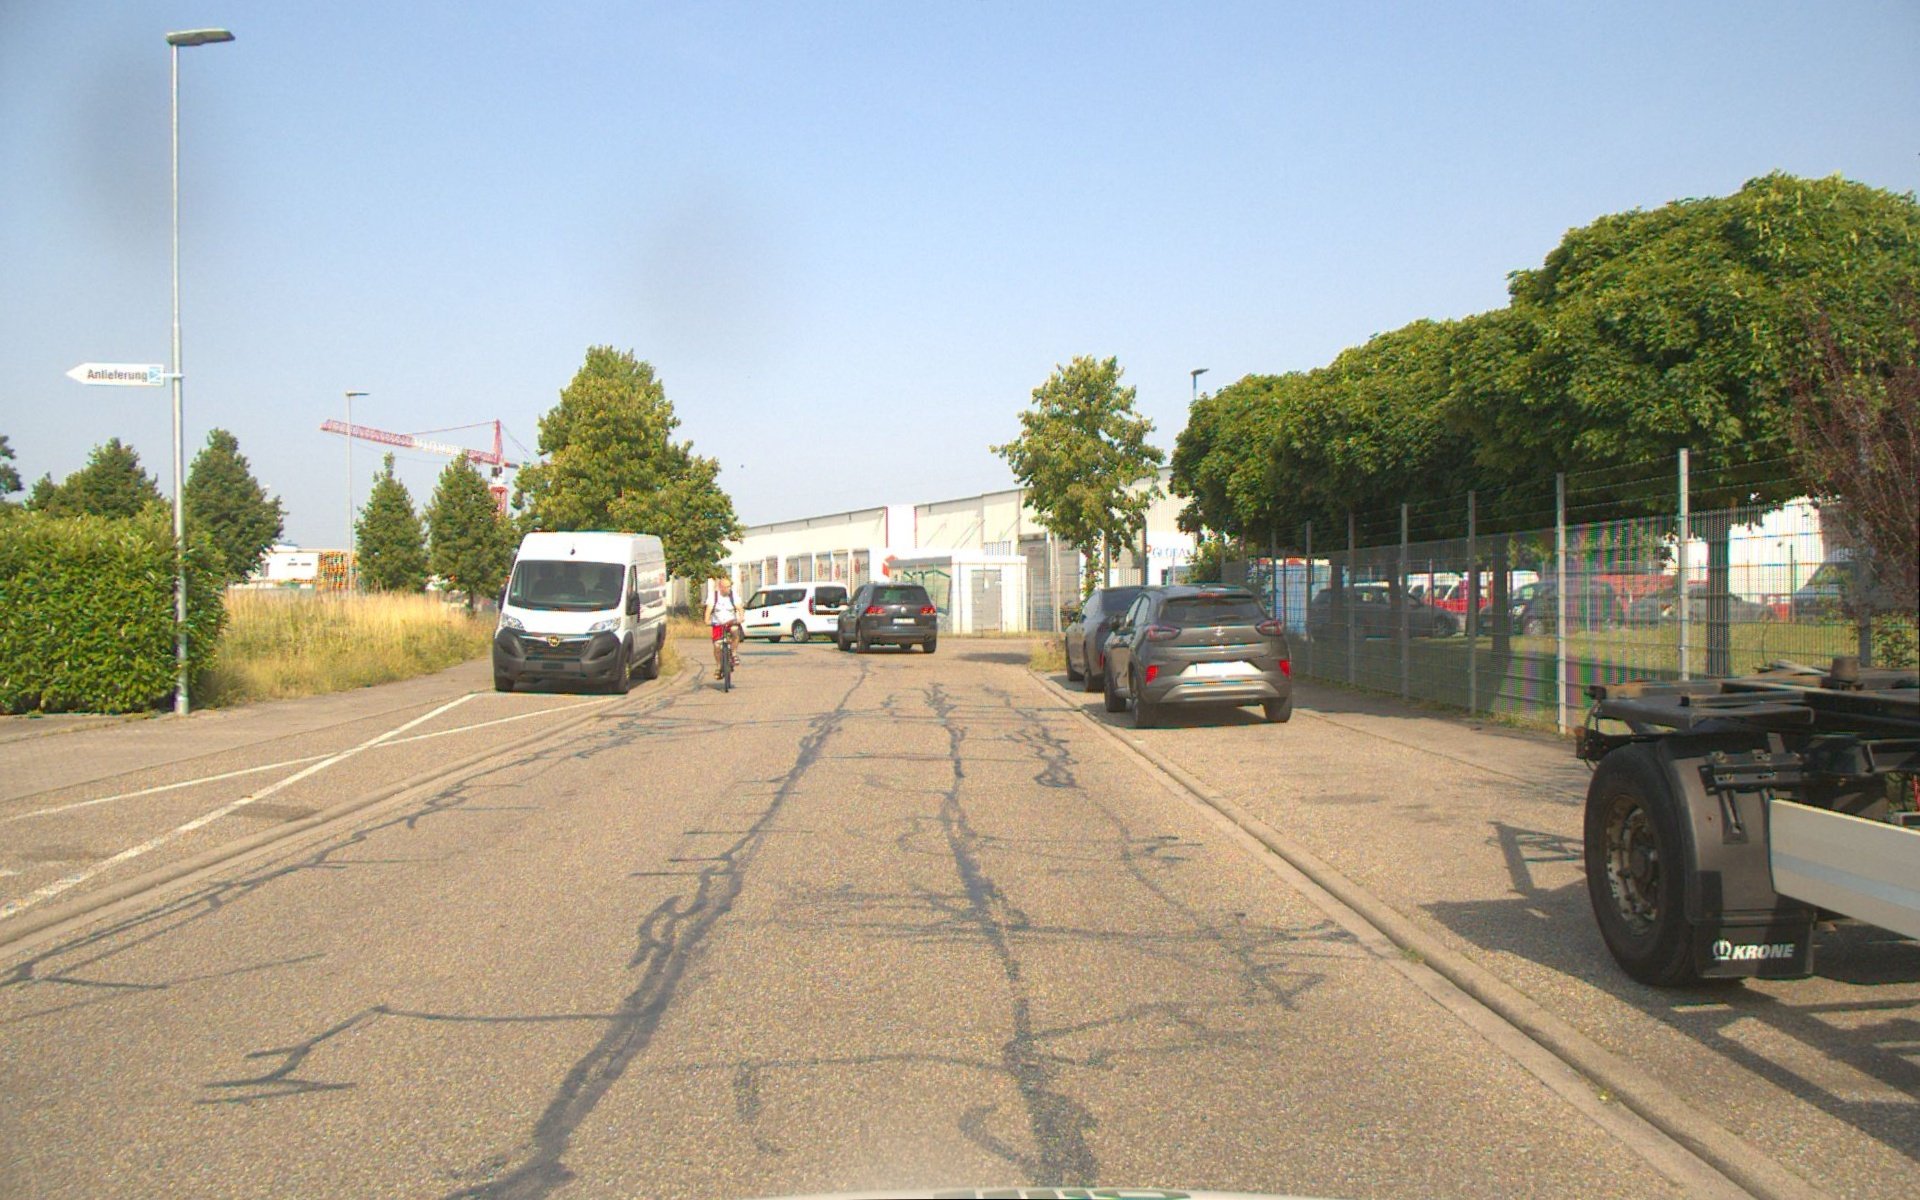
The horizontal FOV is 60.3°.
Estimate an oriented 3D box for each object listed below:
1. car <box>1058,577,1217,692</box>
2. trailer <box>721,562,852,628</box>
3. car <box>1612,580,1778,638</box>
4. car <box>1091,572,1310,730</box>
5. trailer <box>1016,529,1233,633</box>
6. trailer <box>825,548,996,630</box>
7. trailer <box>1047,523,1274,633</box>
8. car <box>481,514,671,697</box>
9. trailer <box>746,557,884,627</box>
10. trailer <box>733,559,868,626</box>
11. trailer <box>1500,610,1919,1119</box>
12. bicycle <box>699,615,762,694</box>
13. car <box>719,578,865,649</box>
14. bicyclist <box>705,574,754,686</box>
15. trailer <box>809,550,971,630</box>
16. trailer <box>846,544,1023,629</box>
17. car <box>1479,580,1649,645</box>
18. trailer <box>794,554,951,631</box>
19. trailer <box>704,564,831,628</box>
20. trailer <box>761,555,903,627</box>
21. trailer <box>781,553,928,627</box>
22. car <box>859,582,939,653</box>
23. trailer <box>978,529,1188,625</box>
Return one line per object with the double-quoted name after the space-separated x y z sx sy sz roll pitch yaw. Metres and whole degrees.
2.736 0.514 26.594 1.843 1.601 5.117 -2 0 -1 "car"
-11.085 -0.284 105.981 7.863 3.962 2.753 2 0 -26 "trailer"
20.998 0.253 47.261 4.413 1.544 1.717 0 -2 -21 "car"
2.711 0.548 19.552 1.843 1.601 4.112 -2 0 -2 "car"
6.659 -0.791 66.738 8.424 3.961 2.755 -1 0 -24 "trailer"
-2.530 -0.521 85.576 8.429 3.962 2.753 2 0 -26 "trailer"
7.781 -0.809 63.992 8.421 3.962 2.755 0 -3 -23 "trailer"
-6.254 0.077 27.730 2.061 2.640 6.498 2 0 -4 "car"
-8.759 -0.455 100.262 7.863 3.962 2.753 2 0 -26 "trailer"
-9.935 -0.437 103.248 7.863 3.962 2.753 2 0 -26 "trailer"
3.543 0.740 3.867 1.899 1.257 7.449 -3 0 -2 "trailer"
-3.692 0.855 26.782 0.701 1.141 2.219 -3 0 -1 "bicycle"
-5.340 0.448 52.262 4.543 2.147 2.115 -1 -1 43 "car"
-3.715 0.471 26.754 0.626 1.749 1.165 -1 0 -1 "bicyclist"
-3.730 -0.505 88.384 8.203 3.962 2.753 2 0 -26 "trailer"
-1.235 -0.631 82.795 8.429 3.962 2.753 2 0 -26 "trailer"
16.327 0.299 44.704 4.197 1.654 1.864 0 1 -24 "car"
-4.803 -0.402 91.242 8.203 3.962 2.753 2 0 -26 "trailer"
-12.737 -0.256 109.459 7.863 3.962 2.753 2 0 -26 "trailer"
-7.546 -0.492 97.563 7.863 3.962 2.753 2 0 -26 "trailer"
-6.047 -0.562 95.001 7.932 3.962 2.753 2 0 -26 "trailer"
-1.469 0.421 40.656 1.843 1.614 4.112 -1 0 -2 "car"
5.190 -0.889 69.475 8.621 3.827 2.768 0 -1 -26 "trailer"
